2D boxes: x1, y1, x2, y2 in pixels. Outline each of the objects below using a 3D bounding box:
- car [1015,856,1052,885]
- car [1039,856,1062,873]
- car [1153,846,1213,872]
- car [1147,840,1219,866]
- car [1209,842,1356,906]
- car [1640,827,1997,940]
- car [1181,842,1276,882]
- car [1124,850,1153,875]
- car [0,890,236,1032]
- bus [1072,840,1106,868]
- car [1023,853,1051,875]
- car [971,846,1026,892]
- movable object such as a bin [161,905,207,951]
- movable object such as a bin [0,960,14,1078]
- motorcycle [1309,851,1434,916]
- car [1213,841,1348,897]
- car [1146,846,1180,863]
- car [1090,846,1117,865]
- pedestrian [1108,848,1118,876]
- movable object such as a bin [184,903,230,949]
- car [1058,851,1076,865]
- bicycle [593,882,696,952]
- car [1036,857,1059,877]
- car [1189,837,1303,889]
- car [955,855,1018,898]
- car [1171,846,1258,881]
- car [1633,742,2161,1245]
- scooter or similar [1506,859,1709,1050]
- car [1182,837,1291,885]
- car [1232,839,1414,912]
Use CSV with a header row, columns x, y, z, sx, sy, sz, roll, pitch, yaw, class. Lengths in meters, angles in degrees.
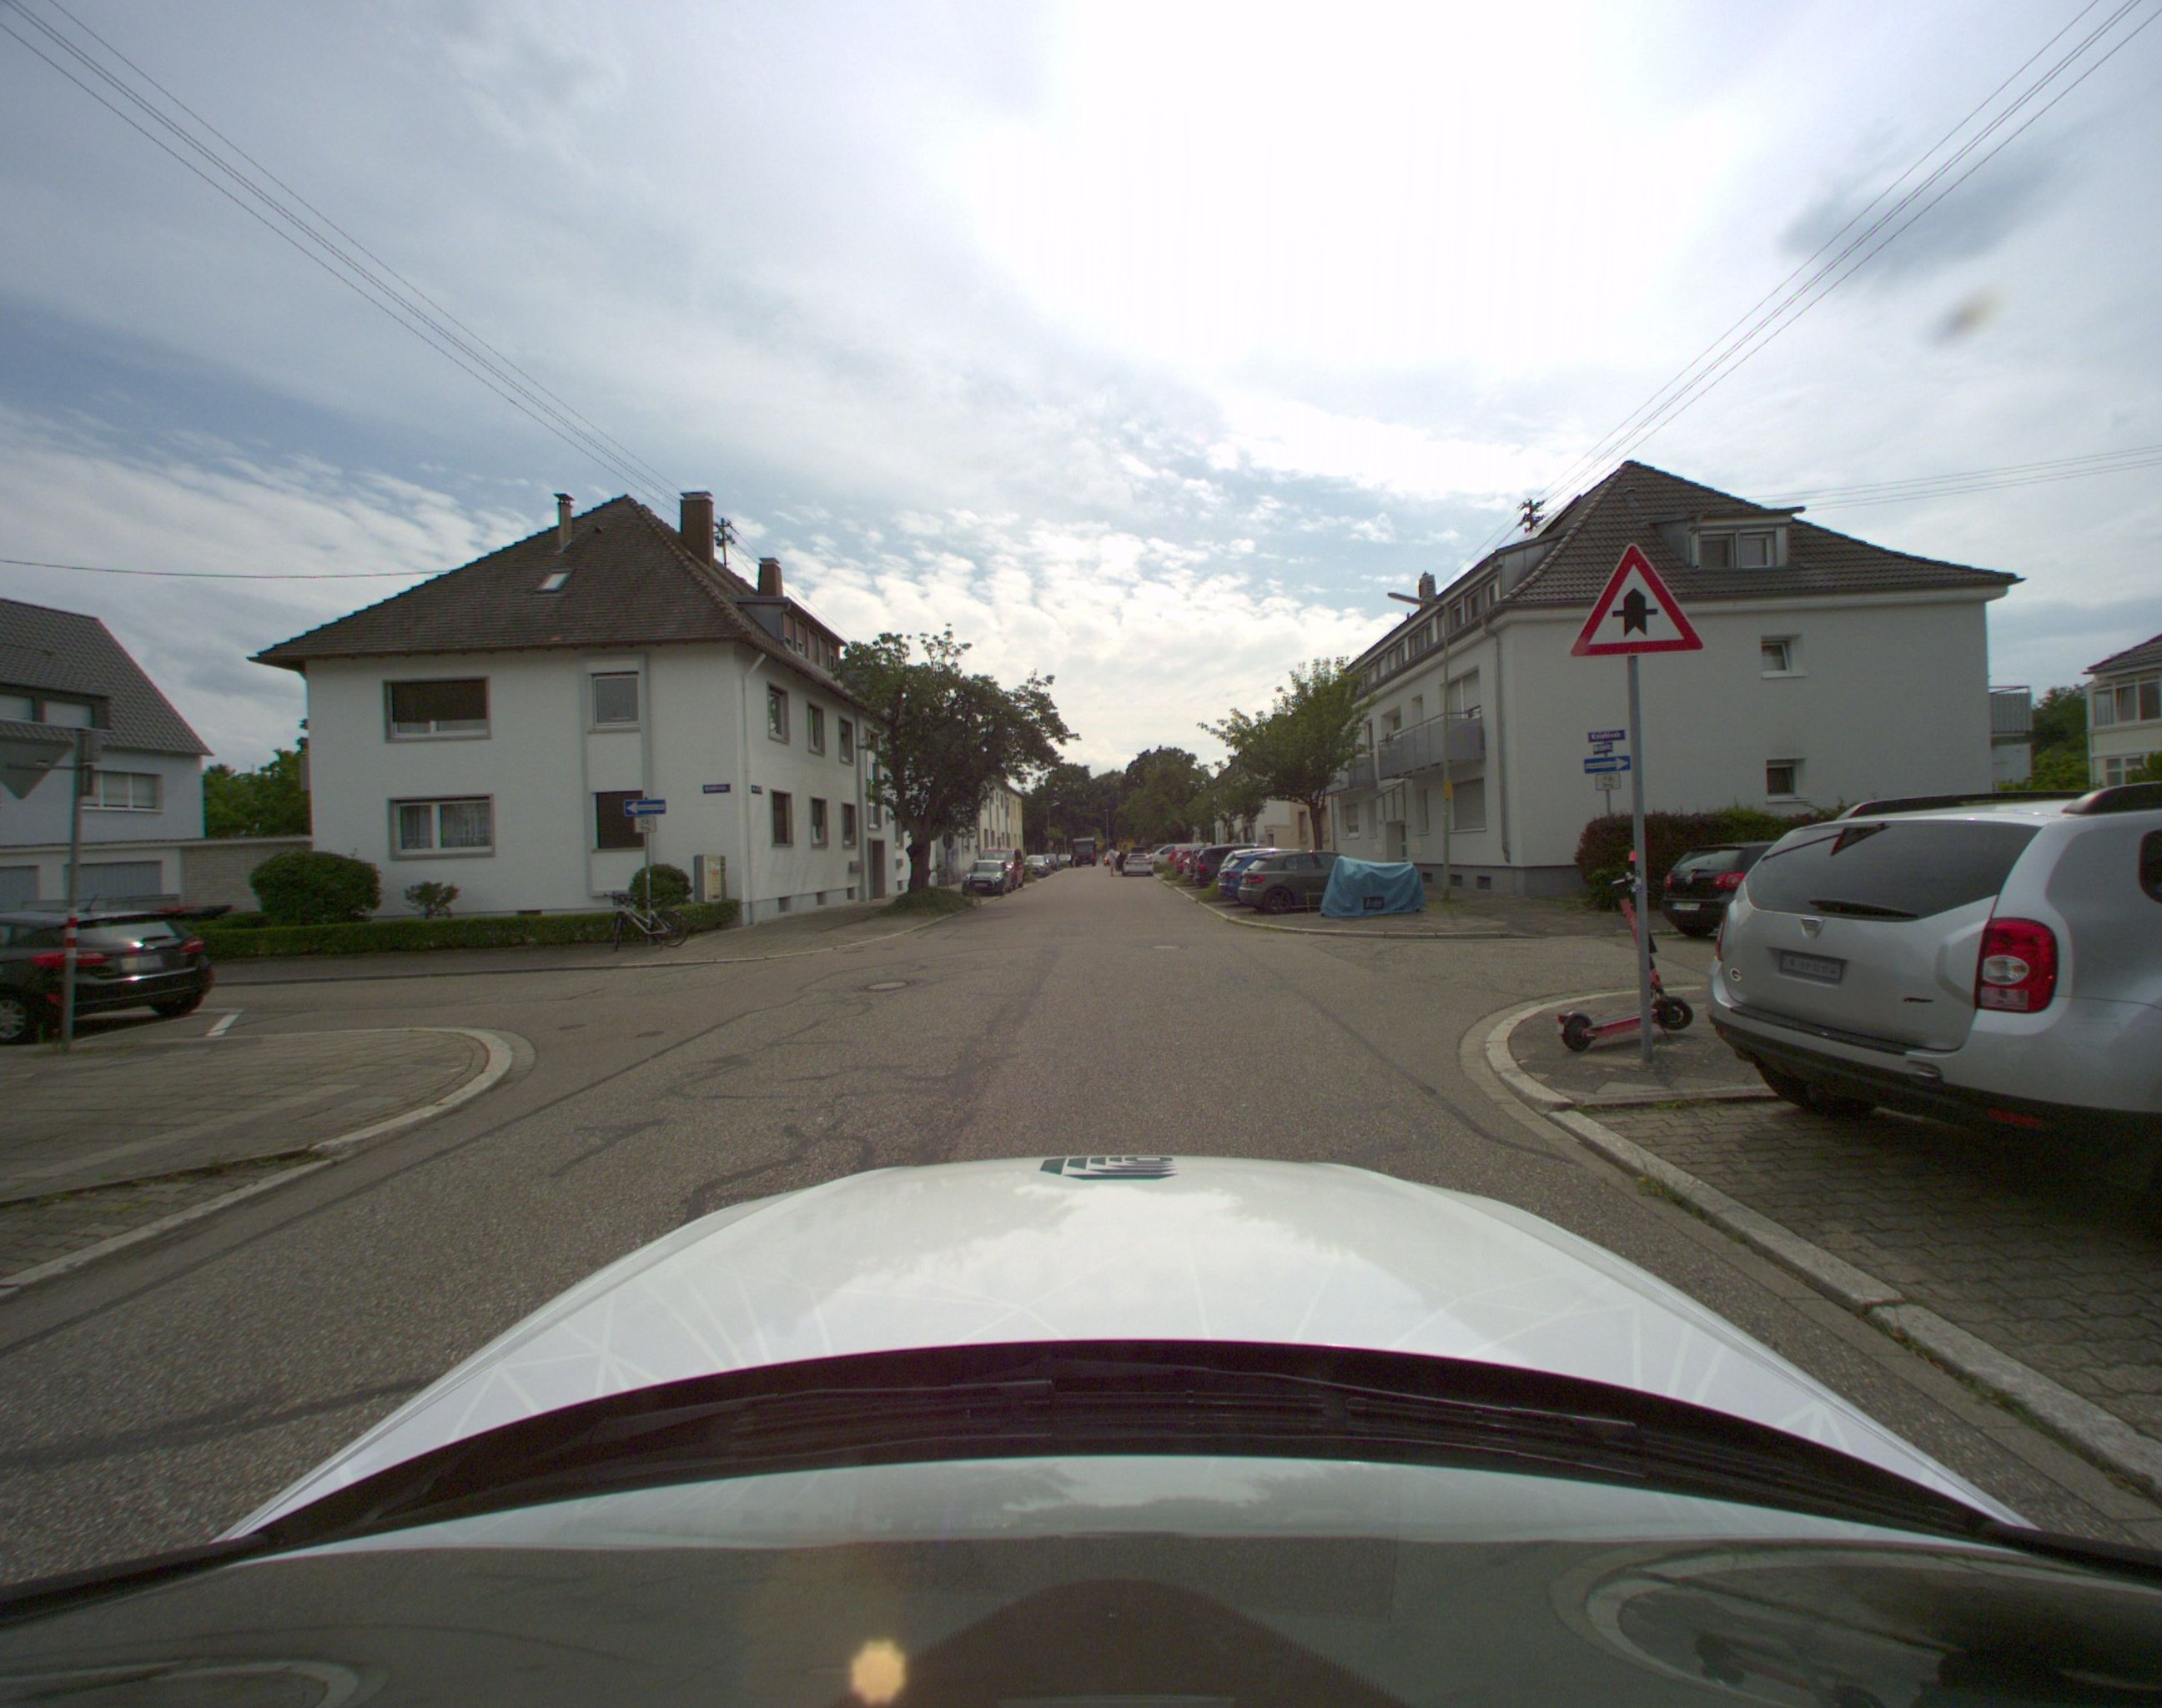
x,y,z,sx,sy,sz,roll,pitch,yaw,class
-2.609,0.884,45.727,1.645,1.461,3.554,-4,0,2,car
-2.664,0.887,71.071,1.645,1.377,3.723,-4,0,2,car
7.144,0.324,57.091,3.972,1.518,1.723,-4,0,2,car
7.429,-0.056,59.452,4.958,1.518,1.768,-4,0,0,car
5.299,0.522,21.751,3.504,1.412,1.560,-4,0,2,car
10.902,0.416,12.256,3.787,1.443,1.664,-2,0,2,car
6.674,0.349,37.057,3.972,1.518,1.723,-4,0,2,car
3.586,0.497,51.124,1.680,1.354,3.830,-4,0,4,car
-12.918,1.312,9.881,3.737,1.422,1.667,-4,0,6,car
0.999,-0.045,89.193,2.991,2.761,8.934,-4,0,4,bus
-3.068,0.664,57.355,1.646,1.377,3.721,-4,0,0,car
-3.947,0.672,39.624,1.986,2.013,4.522,-2,0,2,car
-20.590,1.694,18.701,0.503,0.973,0.455,-4,0,3,movable object such as a bin
-8.643,1.302,6.144,0.485,0.907,0.475,-4,0,-4,movable object such as a bin
5.908,0.582,16.668,2.186,1.210,0.940,-2,0,0,motorcycle
6.514,0.474,26.917,3.972,1.518,1.723,-4,0,2,car
8.973,0.062,89.611,3.515,1.602,1.774,-4,0,3,car
2.302,0.127,81.780,1.980,1.618,4.013,-4,0,11,car
1.995,0.488,50.564,0.519,1.704,0.445,-4,0,6,pedestrian
-19.983,1.646,18.619,0.503,0.973,0.455,-4,0,3,movable object such as a bin
-1.555,0.424,90.228,1.614,1.502,4.004,-4,0,3,car
-8.289,1.185,15.497,1.629,1.179,0.435,-4,0,-2,bicycle
-2.546,0.972,62.405,1.534,1.301,3.721,-4,0,0,car
5.888,0.302,29.427,3.732,1.564,1.774,-4,0,3,car
-3.874,0.916,34.135,1.755,1.554,3.737,-4,0,6,car
6.577,0.463,40.379,3.972,1.438,1.723,-4,0,2,car
5.073,0.340,3.607,3.910,1.633,1.868,-4,0,1,car
3.868,0.705,5.999,1.239,1.243,0.420,-4,0,-11,scooter or similar
6.135,0.270,32.469,3.970,1.618,1.869,-4,0,3,car
5.586,0.481,19.153,3.732,1.365,1.774,-4,0,3,car
